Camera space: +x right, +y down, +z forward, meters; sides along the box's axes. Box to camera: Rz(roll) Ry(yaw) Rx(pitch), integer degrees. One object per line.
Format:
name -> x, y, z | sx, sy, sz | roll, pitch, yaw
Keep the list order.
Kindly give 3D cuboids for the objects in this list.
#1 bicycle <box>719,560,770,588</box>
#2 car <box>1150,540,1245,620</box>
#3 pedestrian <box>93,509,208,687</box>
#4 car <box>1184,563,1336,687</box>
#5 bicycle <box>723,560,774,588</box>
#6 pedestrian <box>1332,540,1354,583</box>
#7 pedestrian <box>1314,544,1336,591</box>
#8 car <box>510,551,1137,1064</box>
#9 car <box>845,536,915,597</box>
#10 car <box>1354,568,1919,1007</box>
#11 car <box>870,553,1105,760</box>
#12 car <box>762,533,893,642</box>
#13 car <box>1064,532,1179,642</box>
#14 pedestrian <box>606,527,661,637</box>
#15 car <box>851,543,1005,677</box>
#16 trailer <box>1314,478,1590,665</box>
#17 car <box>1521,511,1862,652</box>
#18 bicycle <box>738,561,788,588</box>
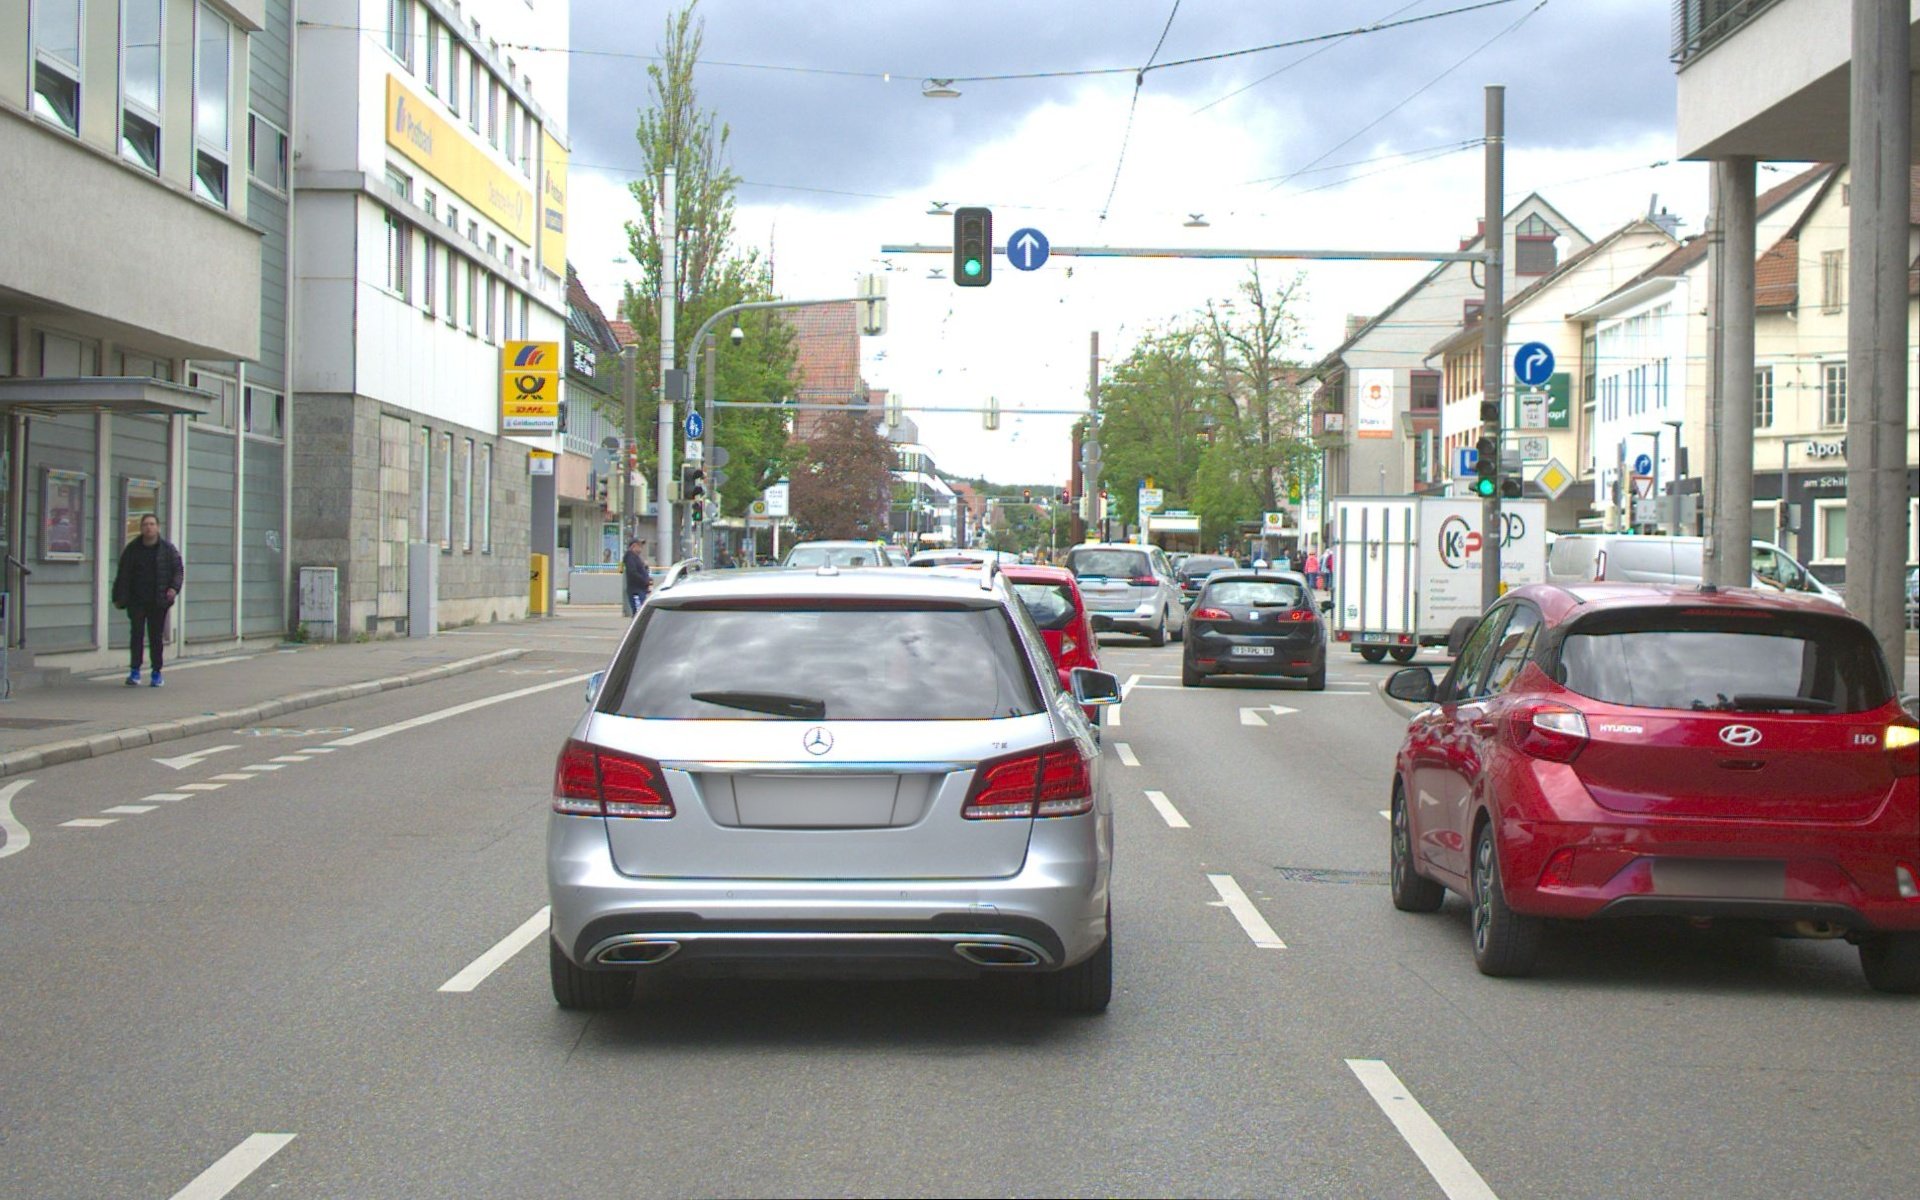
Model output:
bicycle -> -8.497, -1.022, 135.266 | 1.937, 1.025, 0.530 | 2, 1, -9
car -> 5.491, -0.487, 79.922 | 1.828, 1.779, 4.000 | 1, 1, -1
pedestrian -> -8.036, -0.027, 34.166 | 0.861, 1.712, 1.032 | 2, 1, -1
car -> 3.676, 0.278, 42.654 | 1.734, 1.406, 4.000 | 1, 1, 3
bicycle -> -8.244, -0.999, 134.007 | 1.937, 1.025, 0.530 | 2, 1, -9
pedestrian -> 13.223, -1.329, 118.653 | 0.578, 1.464, 0.651 | 2, 0, -6
pedestrian -> 12.936, -1.149, 121.897 | 0.577, 1.661, 0.651 | 2, 0, -10
car -> -0.455, 0.587, 12.270 | 1.845, 1.503, 4.171 | 0, 1, -1
car -> -2.228, -0.950, 96.725 | 1.799, 1.689, 3.897 | 0, 1, 1
car -> 2.745, 0.649, 14.112 | 1.698, 1.447, 4.000 | 3, 1, 0
car -> 0.165, 0.395, 27.613 | 1.734, 1.503, 4.000 | 1, 1, -1
car -> -2.030, -0.219, 53.847 | 1.776, 1.626, 4.768 | 0, 1, 1
car -> 2.716, -0.235, 57.132 | 1.734, 1.753, 3.999 | 1, 1, 5
pedestrian -> -5.200, -0.292, 54.726 | 0.648, 1.712, 0.782 | 2, 1, 8
car -> -0.408, 0.083, 40.886 | 1.734, 1.503, 4.000 | 0, 1, -1
trailer -> 7.456, -0.403, 51.836 | 1.883, 2.604, 4.312 | 4, 1, 43
car -> 11.539, -0.297, 54.231 | 4.888, 1.939, 1.885 | 3, 1, -19
bicycle -> -7.888, -1.034, 137.932 | 1.937, 1.025, 0.530 | 2, 1, -9
